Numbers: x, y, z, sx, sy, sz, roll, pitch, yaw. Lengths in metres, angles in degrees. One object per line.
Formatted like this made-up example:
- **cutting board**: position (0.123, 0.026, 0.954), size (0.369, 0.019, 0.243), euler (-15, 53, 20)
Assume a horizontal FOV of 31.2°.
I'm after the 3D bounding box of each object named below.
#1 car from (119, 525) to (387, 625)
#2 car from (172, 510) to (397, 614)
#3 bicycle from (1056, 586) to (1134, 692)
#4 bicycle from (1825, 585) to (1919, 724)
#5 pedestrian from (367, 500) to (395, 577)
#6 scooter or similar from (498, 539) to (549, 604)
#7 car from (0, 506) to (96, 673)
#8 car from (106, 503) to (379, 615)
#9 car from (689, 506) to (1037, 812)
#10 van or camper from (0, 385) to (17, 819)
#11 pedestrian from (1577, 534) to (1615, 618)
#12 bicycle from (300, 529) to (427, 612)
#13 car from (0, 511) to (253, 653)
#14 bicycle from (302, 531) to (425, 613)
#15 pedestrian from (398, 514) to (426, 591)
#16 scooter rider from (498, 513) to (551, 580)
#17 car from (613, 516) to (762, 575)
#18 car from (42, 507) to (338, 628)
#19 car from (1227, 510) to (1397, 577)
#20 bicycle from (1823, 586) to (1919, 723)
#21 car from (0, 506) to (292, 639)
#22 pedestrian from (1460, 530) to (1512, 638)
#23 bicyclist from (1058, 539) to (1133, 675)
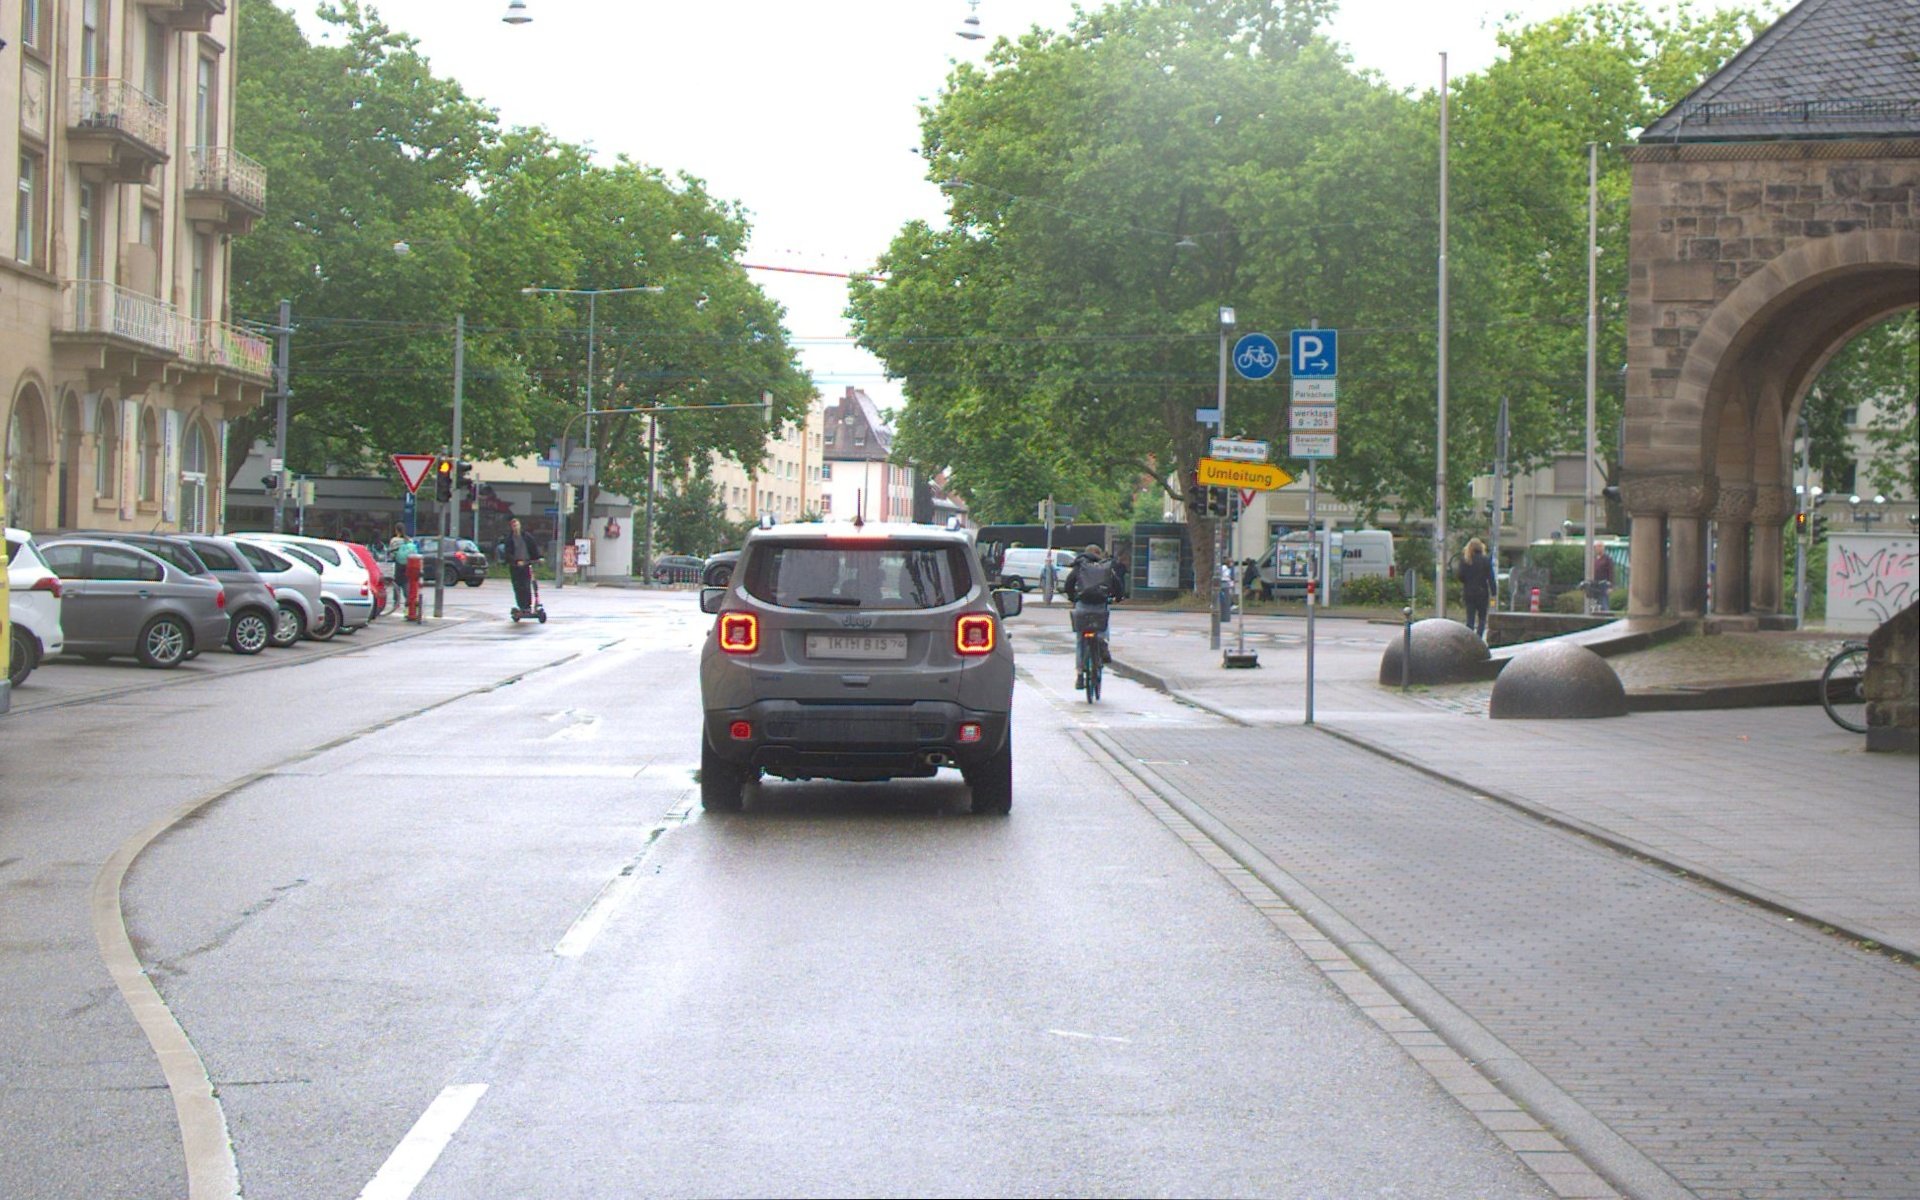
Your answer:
- **car**: position (-10.439, -0.362, 50.832), size (3.413, 1.311, 1.779), euler (2, 0, -34)
- **car**: position (-11.138, -0.628, 56.744), size (3.245, 1.553, 1.535), euler (2, 0, -34)
- **bicycle**: position (1.410, 0.395, 36.181), size (0.705, 1.050, 1.813), euler (1, 1, -1)
- **bicycle**: position (7.747, 0.440, 27.598), size (1.524, 1.098, 0.363), euler (1, 1, 20)
- **pedestrian**: position (-11.999, -1.268, 71.303), size (0.467, 1.580, 0.659), euler (1, 1, -2)
- **scooter or similar**: position (-8.246, -0.535, 65.008), size (0.851, 1.208, 0.986), euler (1, -1, -1)
- **car**: position (-10.259, -0.165, 32.368), size (3.653, 1.553, 1.799), euler (2, 0, -37)
- **car**: position (-11.136, -0.634, 53.439), size (3.730, 1.553, 1.672), euler (2, 0, -34)
- **car**: position (-0.628, 0.291, 21.214), size (1.898, 1.665, 4.506), euler (1, 1, -2)
- **van or camper**: position (-6.526, -0.008, 16.673), size (2.121, 2.522, 6.875), euler (-2, -1, -2)
- **pedestrian**: position (13.020, -0.494, 70.366), size (0.682, 1.705, 0.692), euler (1, 1, 17)
- **bicycle**: position (-10.454, -0.511, 60.251), size (2.109, 1.439, 0.539), euler (0, 1, -21)
- **car**: position (-10.192, -0.224, 38.850), size (3.843, 1.474, 1.885), euler (2, 0, -42)
- **bicycle**: position (-10.619, -0.499, 61.242), size (2.092, 1.439, 0.491), euler (0, 1, -21)
- **pedestrian**: position (-11.395, -0.986, 71.445), size (0.467, 1.580, 0.752), euler (1, 1, -2)
- **scooter rider**: position (-8.231, -1.011, 65.015), size (0.880, 1.216, 0.984), euler (1, -1, -1)
- **car**: position (-7.656, -1.534, 96.739), size (3.883, 1.606, 1.540), euler (1, 1, 19)
- **car**: position (-10.680, -0.447, 47.712), size (3.496, 1.513, 1.885), euler (2, 0, -34)
- **car**: position (12.531, -2.032, 122.817), size (5.904, 2.326, 2.059), euler (1, 1, 3)
- **bicycle**: position (7.820, 0.448, 28.008), size (1.488, 1.098, 0.363), euler (1, 1, 20)
- **car**: position (-10.758, -0.349, 44.513), size (3.654, 1.553, 1.808), euler (2, 0, -38)
- **pedestrian**: position (8.406, -0.257, 54.945), size (0.690, 1.705, 0.684), euler (1, 1, -1)
- **bicyclist**: position (1.416, 0.065, 36.178), size (0.705, 1.399, 1.171), euler (1, 1, -1)
